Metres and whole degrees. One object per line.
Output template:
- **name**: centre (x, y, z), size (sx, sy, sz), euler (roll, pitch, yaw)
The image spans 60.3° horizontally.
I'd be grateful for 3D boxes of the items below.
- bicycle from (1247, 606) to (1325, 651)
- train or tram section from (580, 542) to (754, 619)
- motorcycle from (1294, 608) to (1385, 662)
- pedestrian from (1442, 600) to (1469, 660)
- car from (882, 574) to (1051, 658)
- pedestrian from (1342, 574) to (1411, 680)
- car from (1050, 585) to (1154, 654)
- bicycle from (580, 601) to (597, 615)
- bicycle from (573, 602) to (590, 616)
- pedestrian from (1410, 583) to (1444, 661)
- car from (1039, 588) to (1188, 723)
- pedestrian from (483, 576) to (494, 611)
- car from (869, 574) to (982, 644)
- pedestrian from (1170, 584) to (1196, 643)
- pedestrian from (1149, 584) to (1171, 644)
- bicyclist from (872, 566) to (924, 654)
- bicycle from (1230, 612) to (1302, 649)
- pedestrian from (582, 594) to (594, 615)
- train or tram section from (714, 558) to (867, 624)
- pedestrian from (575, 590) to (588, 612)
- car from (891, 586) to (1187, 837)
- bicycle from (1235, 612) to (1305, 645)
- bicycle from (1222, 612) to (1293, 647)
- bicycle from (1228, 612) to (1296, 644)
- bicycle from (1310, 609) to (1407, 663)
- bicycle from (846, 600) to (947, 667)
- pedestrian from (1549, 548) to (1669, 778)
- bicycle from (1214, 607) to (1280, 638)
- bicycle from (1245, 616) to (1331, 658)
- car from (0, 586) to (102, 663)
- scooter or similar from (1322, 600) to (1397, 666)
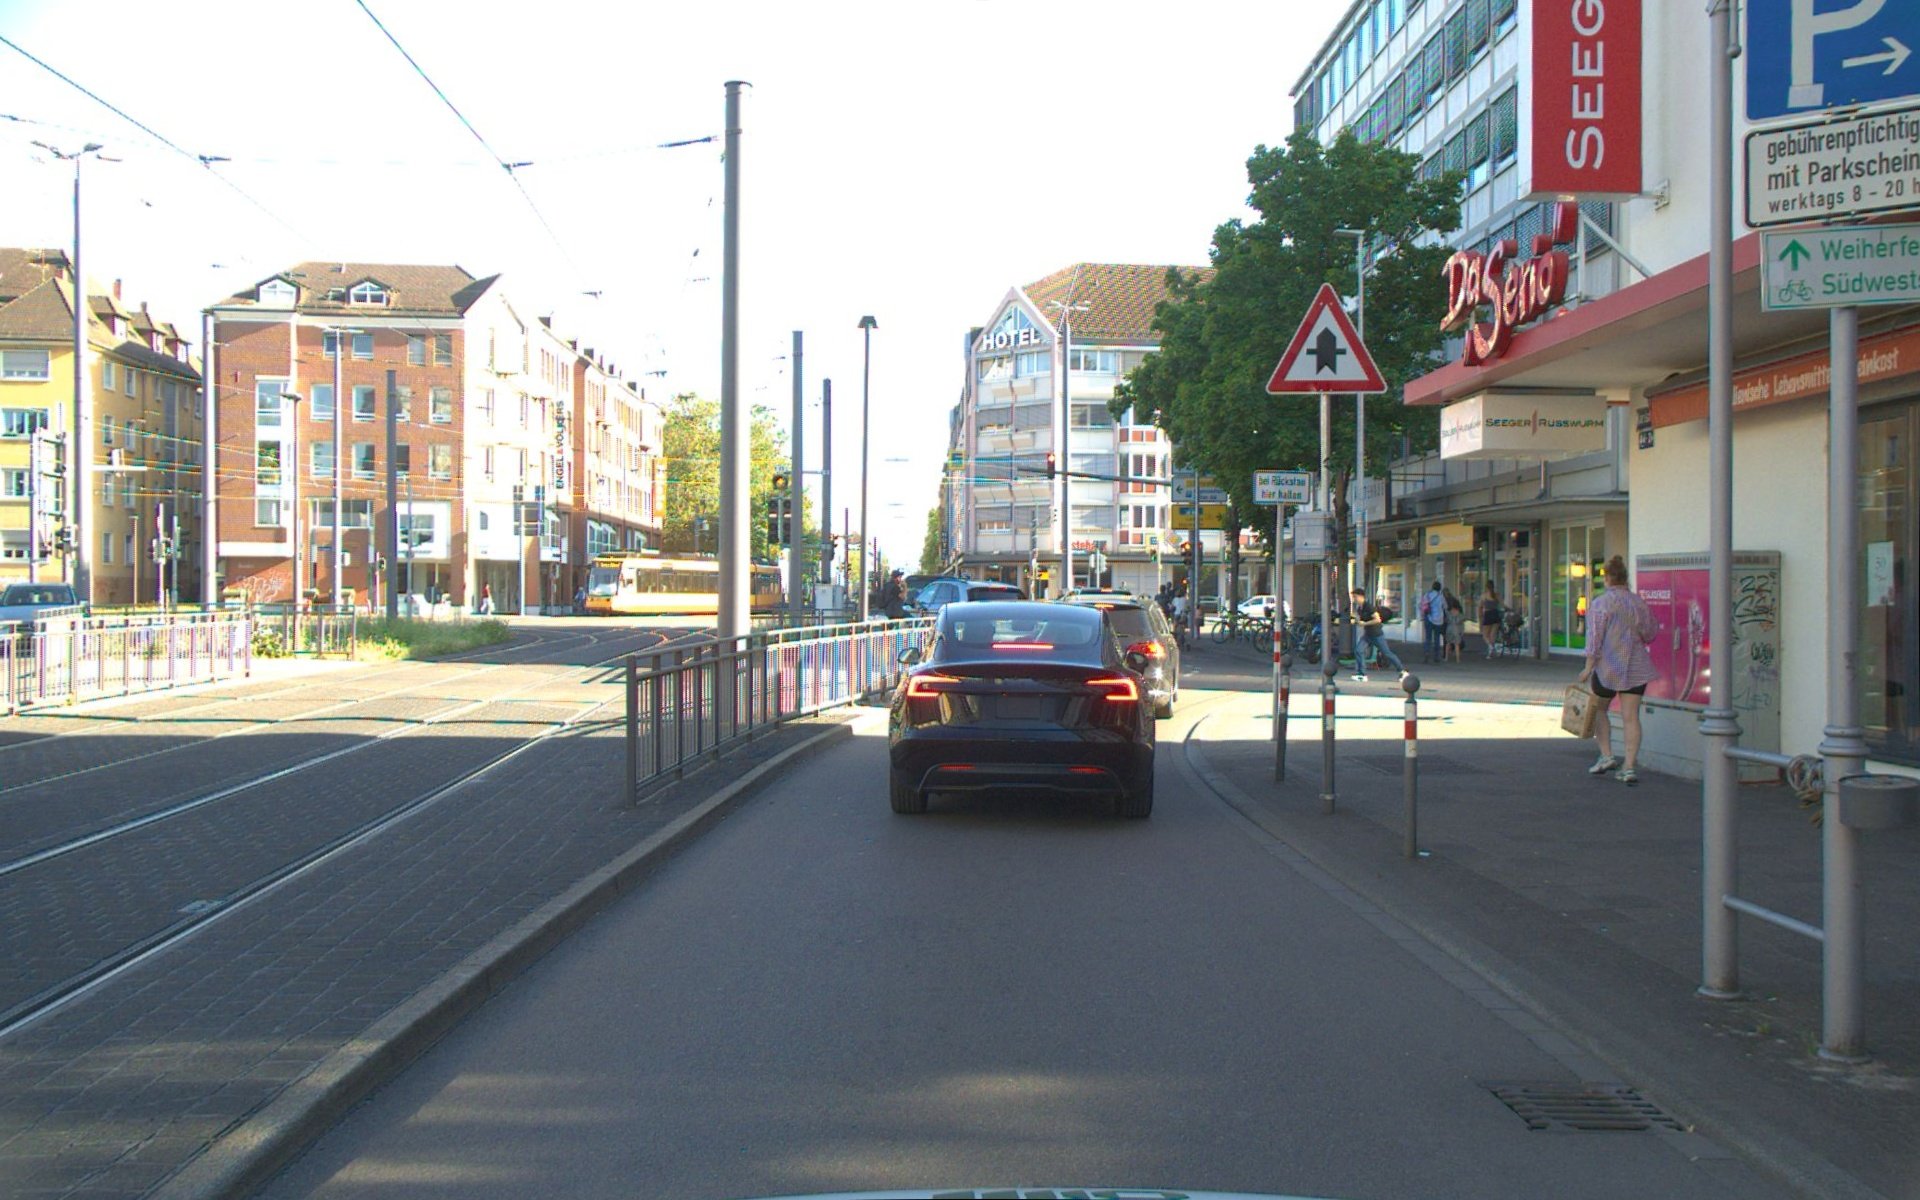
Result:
- **bicycle**: centre (8.398, 0.722, 42.625), size (1.885, 1.116, 0.554), euler (1, 0, 0)
- **train or tram section**: centre (-15.907, -0.924, 91.517), size (2.619, 3.780, 14.194), euler (2, 0, 20)
- **motorcycle**: centre (8.795, 0.809, 38.376), size (1.951, 1.147, 0.596), euler (2, 0, -2)
- **pedestrian**: centre (10.780, 0.642, 35.990), size (0.411, 1.303, 0.531), euler (0, 0, 0)
- **car**: centre (0.057, 0.285, 33.742), size (1.761, 1.545, 4.183), euler (2, 0, -26)
- **pedestrian**: centre (7.130, 0.458, 28.318), size (0.992, 1.772, 0.524), euler (2, -1, -26)
- **car**: centre (3.406, 0.447, 40.298), size (1.789, 1.545, 3.644), euler (2, 0, -6)
- **bicycle**: centre (-24.322, 0.503, 108.205), size (0.688, 0.869, 2.053), euler (0, 0, -1)
- **bicycle**: centre (-24.244, 0.547, 105.951), size (0.688, 0.869, 2.053), euler (0, 0, -1)
- **pedestrian**: centre (10.083, 0.468, 35.701), size (0.583, 1.670, 0.466), euler (0, 0, 0)
- **car**: centre (1.977, 0.601, 20.497), size (1.618, 1.443, 4.003), euler (2, 1, 7)
- **pedestrian**: centre (-27.634, -0.365, 96.946), size (0.555, 2.049, 0.349), euler (2, -1, -16)
- **car**: centre (-0.896, 0.196, 40.025), size (1.793, 1.545, 4.203), euler (2, 0, -14)
- **pedestrian**: centre (6.255, 0.379, 46.389), size (0.616, 1.642, 0.643), euler (1, 0, 2)
- **pedestrian**: centre (5.876, 0.406, 48.532), size (0.550, 1.712, 0.750), euler (1, 0, 4)
- **bicyclist**: centre (-1.109, 0.173, 29.570), size (0.821, 1.526, 0.559), euler (2, 0, -9)
- **bicycle**: centre (8.409, 0.828, 45.479), size (1.885, 0.967, 0.526), euler (1, 0, 0)
- **pedestrian**: centre (-24.310, 0.286, 108.096), size (0.682, 1.331, 0.564), euler (0, 0, -2)
- **train or tram section**: centre (-10.504, -0.453, 105.310), size (2.583, 3.783, 15.382), euler (2, 0, 22)
- **pedestrian**: centre (-24.240, 0.063, 105.895), size (0.697, 1.365, 0.666), euler (0, 0, -1)
- **car**: centre (0.419, 0.701, 12.199), size (1.812, 1.510, 3.785), euler (2, 0, -3)
- **bicycle**: centre (8.895, 0.806, 47.500), size (1.885, 0.903, 0.526), euler (1, 0, 0)
- **bicycle**: centre (8.357, 0.828, 46.493), size (1.885, 0.967, 0.526), euler (1, 0, 0)
- **bicycle**: centre (8.853, 0.815, 48.555), size (1.885, 0.906, 0.526), euler (1, 0, 0)
- **bicycle**: centre (8.762, 0.787, 36.368), size (2.009, 1.141, 0.483), euler (1, 0, 0)
- **bicycle**: centre (-1.133, 0.597, 29.490), size (1.696, 1.107, 0.677), euler (2, 0, -9)
- **pedestrian**: centre (5.077, 0.474, 12.949), size (0.800, 1.712, 0.714), euler (2, 0, 22)
- **bicycle**: centre (8.631, 0.682, 49.734), size (1.885, 0.906, 0.526), euler (1, 0, 0)
- **bicycle**: centre (8.035, 0.909, 40.539), size (2.009, 0.999, 0.483), euler (1, 0, 0)
- **car**: centre (-20.526, 0.504, 37.166), size (1.757, 1.595, 4.264), euler (-1, 1, -22)
- **scooter or similar**: centre (8.206, 0.686, 33.979), size (1.392, 1.340, 0.690), euler (1, -2, -27)
